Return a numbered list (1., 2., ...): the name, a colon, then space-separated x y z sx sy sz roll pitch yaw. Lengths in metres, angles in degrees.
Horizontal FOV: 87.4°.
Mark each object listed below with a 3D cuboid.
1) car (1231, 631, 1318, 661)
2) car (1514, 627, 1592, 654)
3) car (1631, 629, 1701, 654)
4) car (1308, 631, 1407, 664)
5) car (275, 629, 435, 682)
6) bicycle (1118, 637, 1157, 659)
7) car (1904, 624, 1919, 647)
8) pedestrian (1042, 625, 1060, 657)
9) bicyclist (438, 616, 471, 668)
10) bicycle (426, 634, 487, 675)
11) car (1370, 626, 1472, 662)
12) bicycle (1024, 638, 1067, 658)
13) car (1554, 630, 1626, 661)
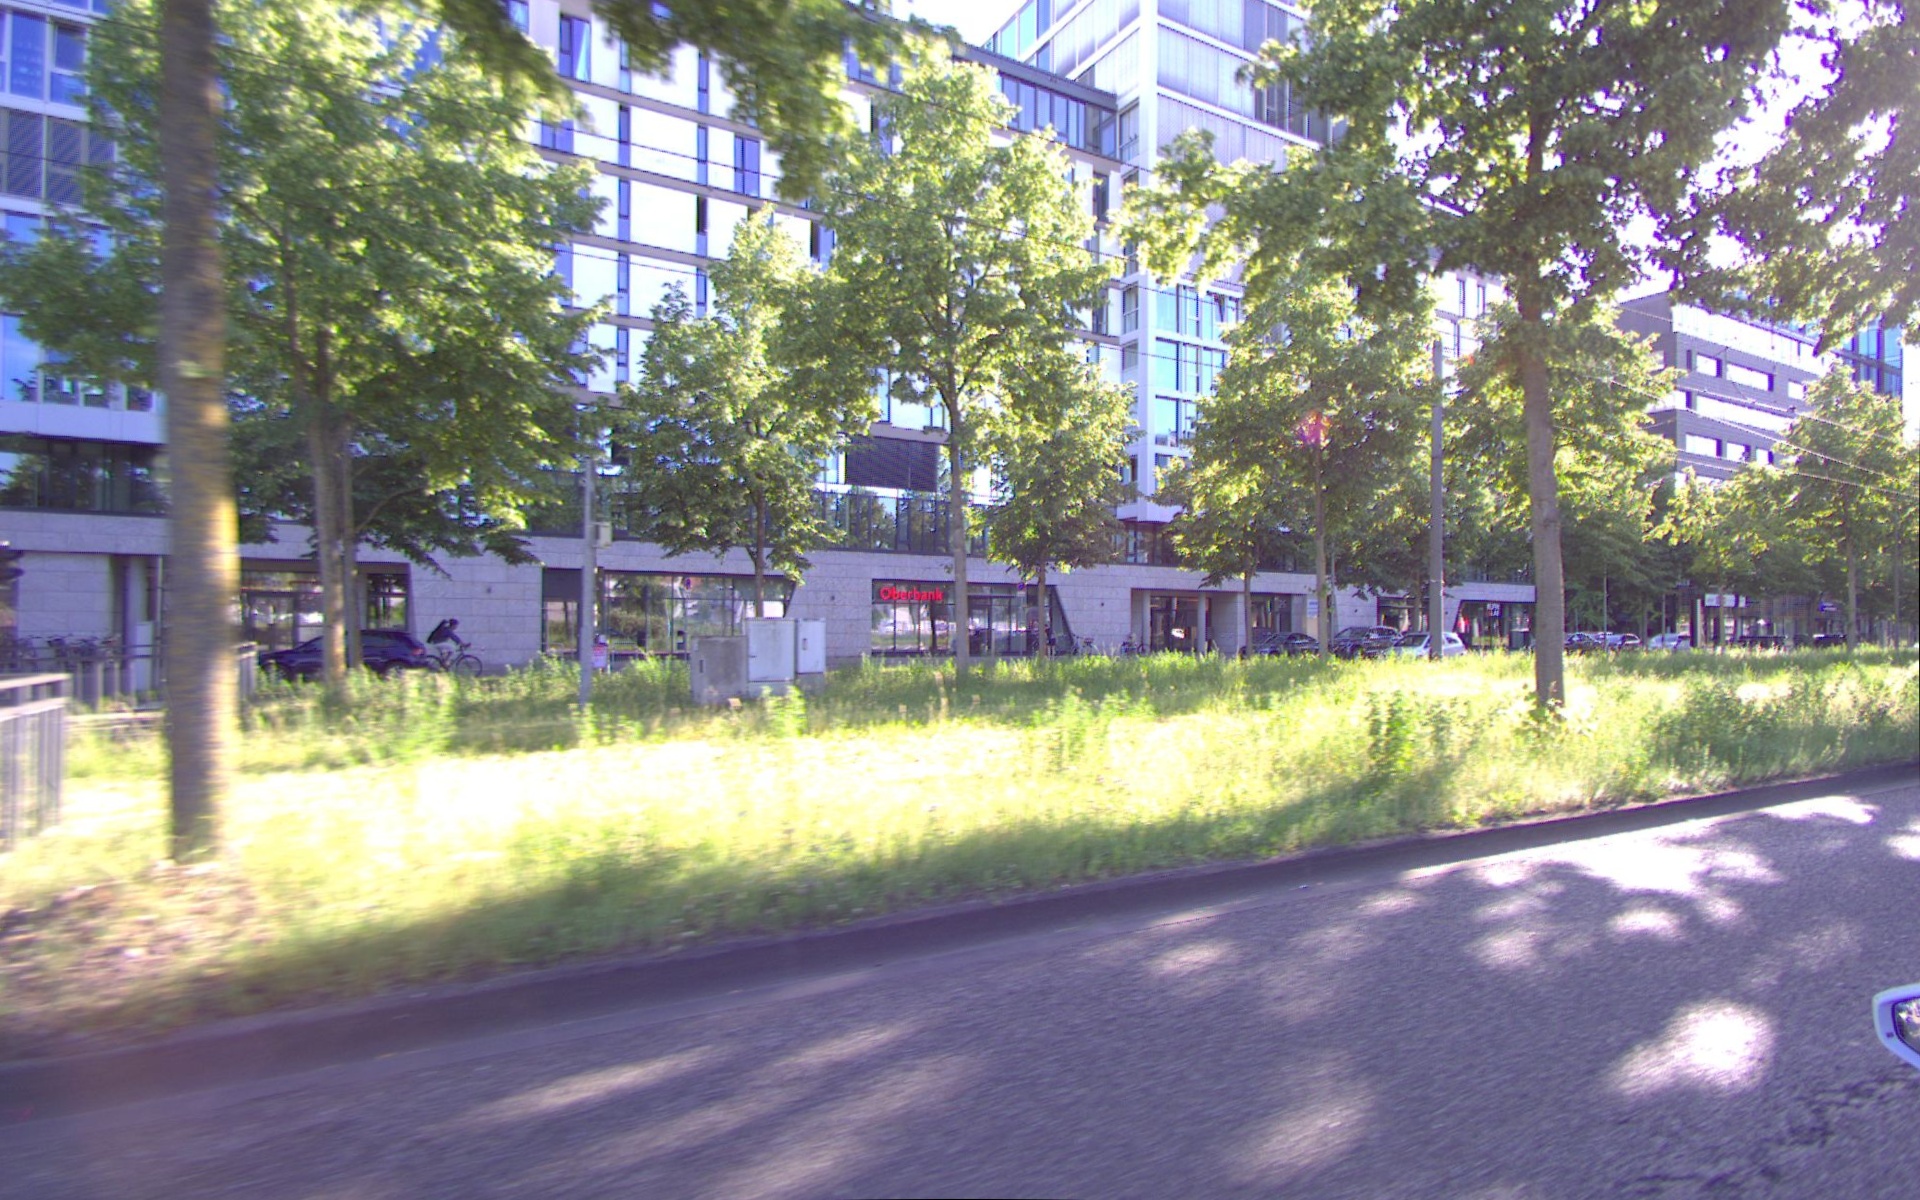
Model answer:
1. car: 13.531 1.960 43.193 3.541 1.223 1.660 1 -2 -30
2. car: 32.590 2.200 55.170 4.490 1.439 1.707 1 -2 -30
3. car: 42.180 2.472 59.999 4.490 1.439 1.707 1 -1 -30
4. car: 18.218 2.150 45.996 4.749 1.438 1.660 1 -1 -30
5. car: -15.610 1.434 26.071 3.425 1.251 1.642 3 -2 -30
6. bicycle: 8.597 2.314 48.625 1.960 0.985 0.539 3 -2 -30
7. car: 57.629 2.076 59.220 4.260 1.309 1.789 0 -2 -31
8. pedestrian: 4.106 1.864 45.322 0.682 1.431 0.406 3 -2 -30
9. bicyclist: -14.672 1.200 29.160 0.821 1.483 0.717 1 -1 -28
10. bicycle: -14.614 1.571 29.187 1.551 1.135 0.729 1 -1 -28
11. car: 17.517 1.669 38.147 3.440 1.254 1.762 3 -2 -27
12. bicycle: 3.899 2.203 45.760 1.991 0.892 0.539 2 -1 -30
13. car: 39.808 2.856 63.463 5.070 1.801 1.788 0 0 -31
